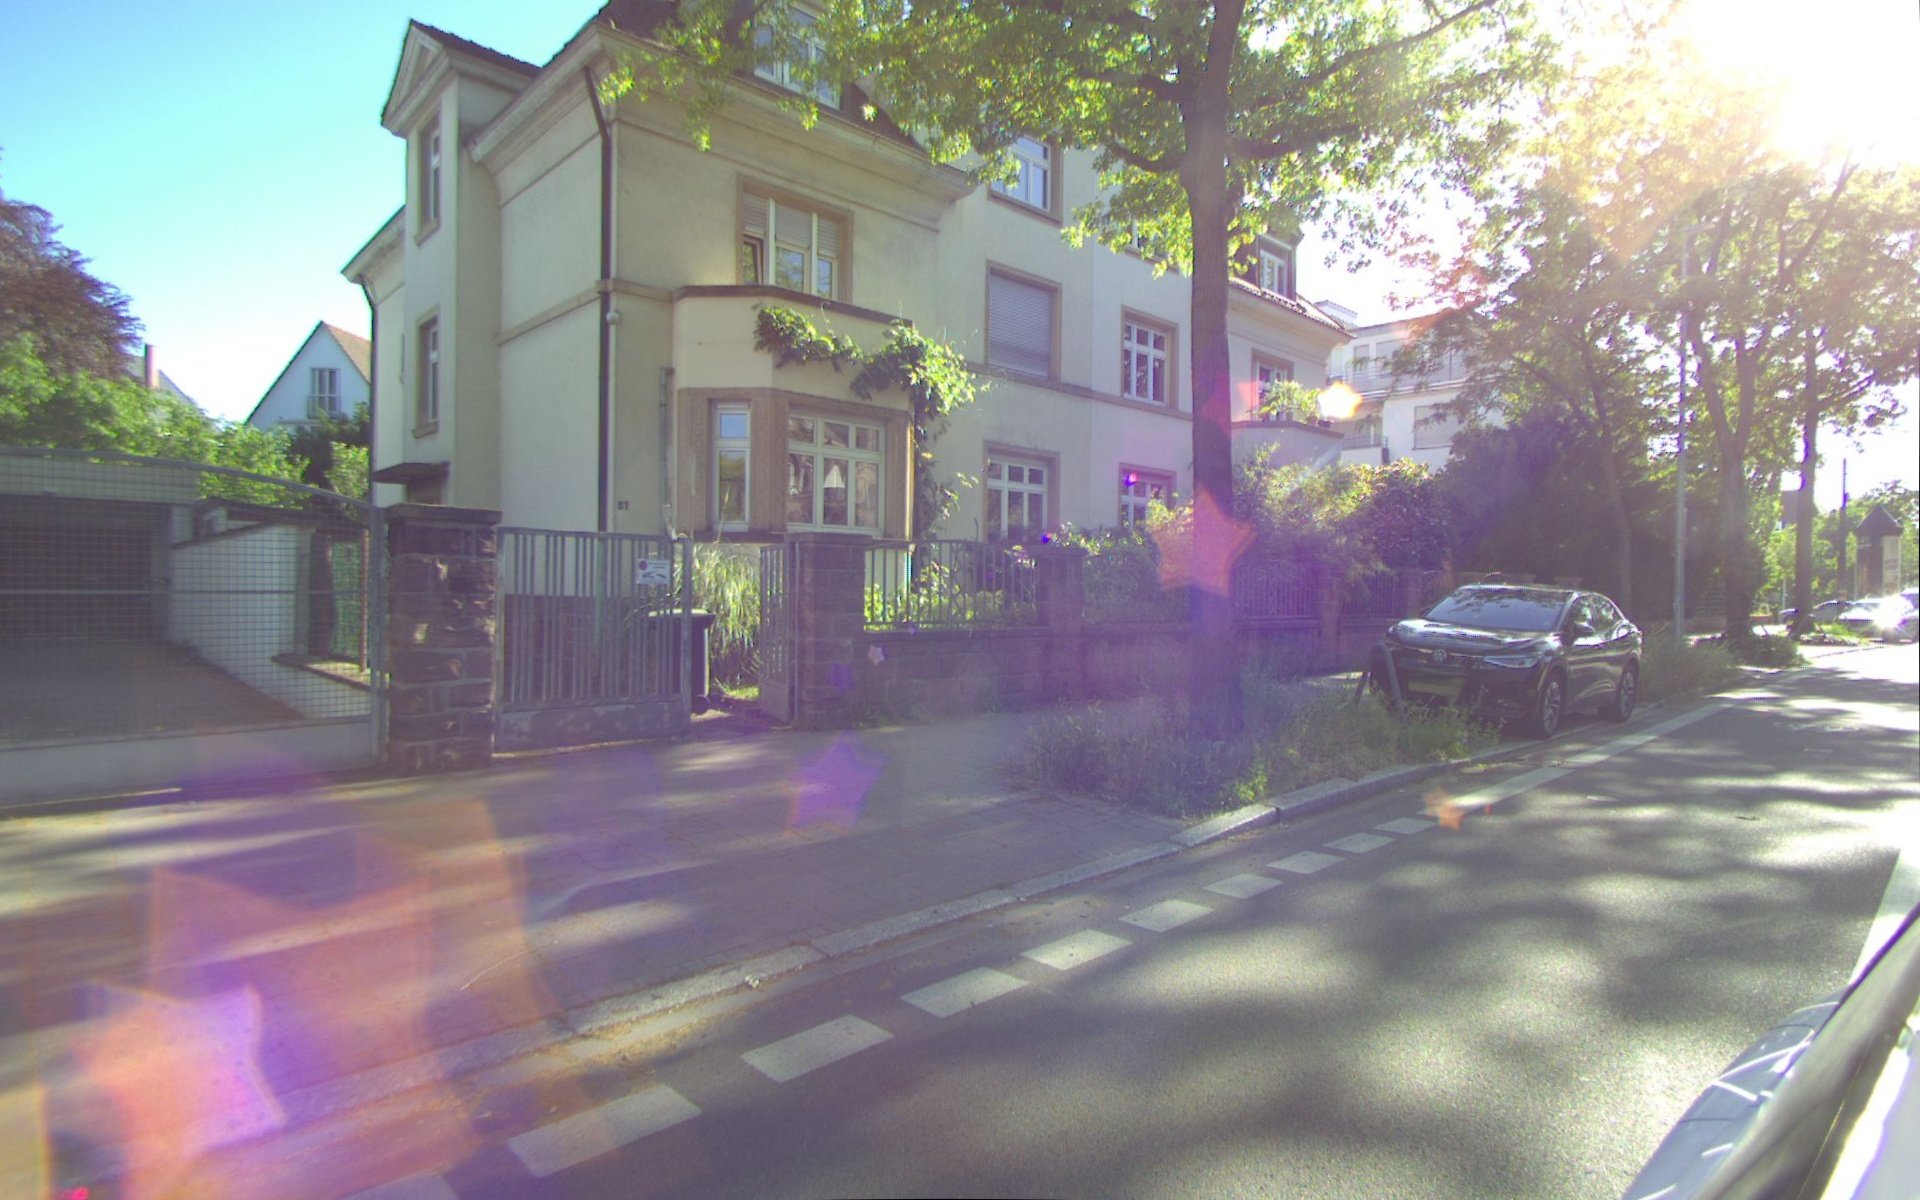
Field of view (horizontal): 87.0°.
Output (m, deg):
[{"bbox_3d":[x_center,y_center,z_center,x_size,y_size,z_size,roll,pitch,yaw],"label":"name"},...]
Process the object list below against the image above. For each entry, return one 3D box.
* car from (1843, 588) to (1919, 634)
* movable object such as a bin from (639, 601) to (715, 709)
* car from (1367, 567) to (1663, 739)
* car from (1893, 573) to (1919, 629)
[{"bbox_3d":[31.556,0.339,34.413,3.930,1.469,1.785,0,1,-41],"label":"car"},{"bbox_3d":[-3.055,0.558,10.866,0.697,1.070,1.093,0,0,-20],"label":"movable object such as a bin"},{"bbox_3d":[6.693,0.500,12.032,4.020,1.626,1.743,0,4,-41],"label":"car"},{"bbox_3d":[36.792,0.052,38.074,4.503,2.039,1.997,0,1,-41],"label":"car"}]
